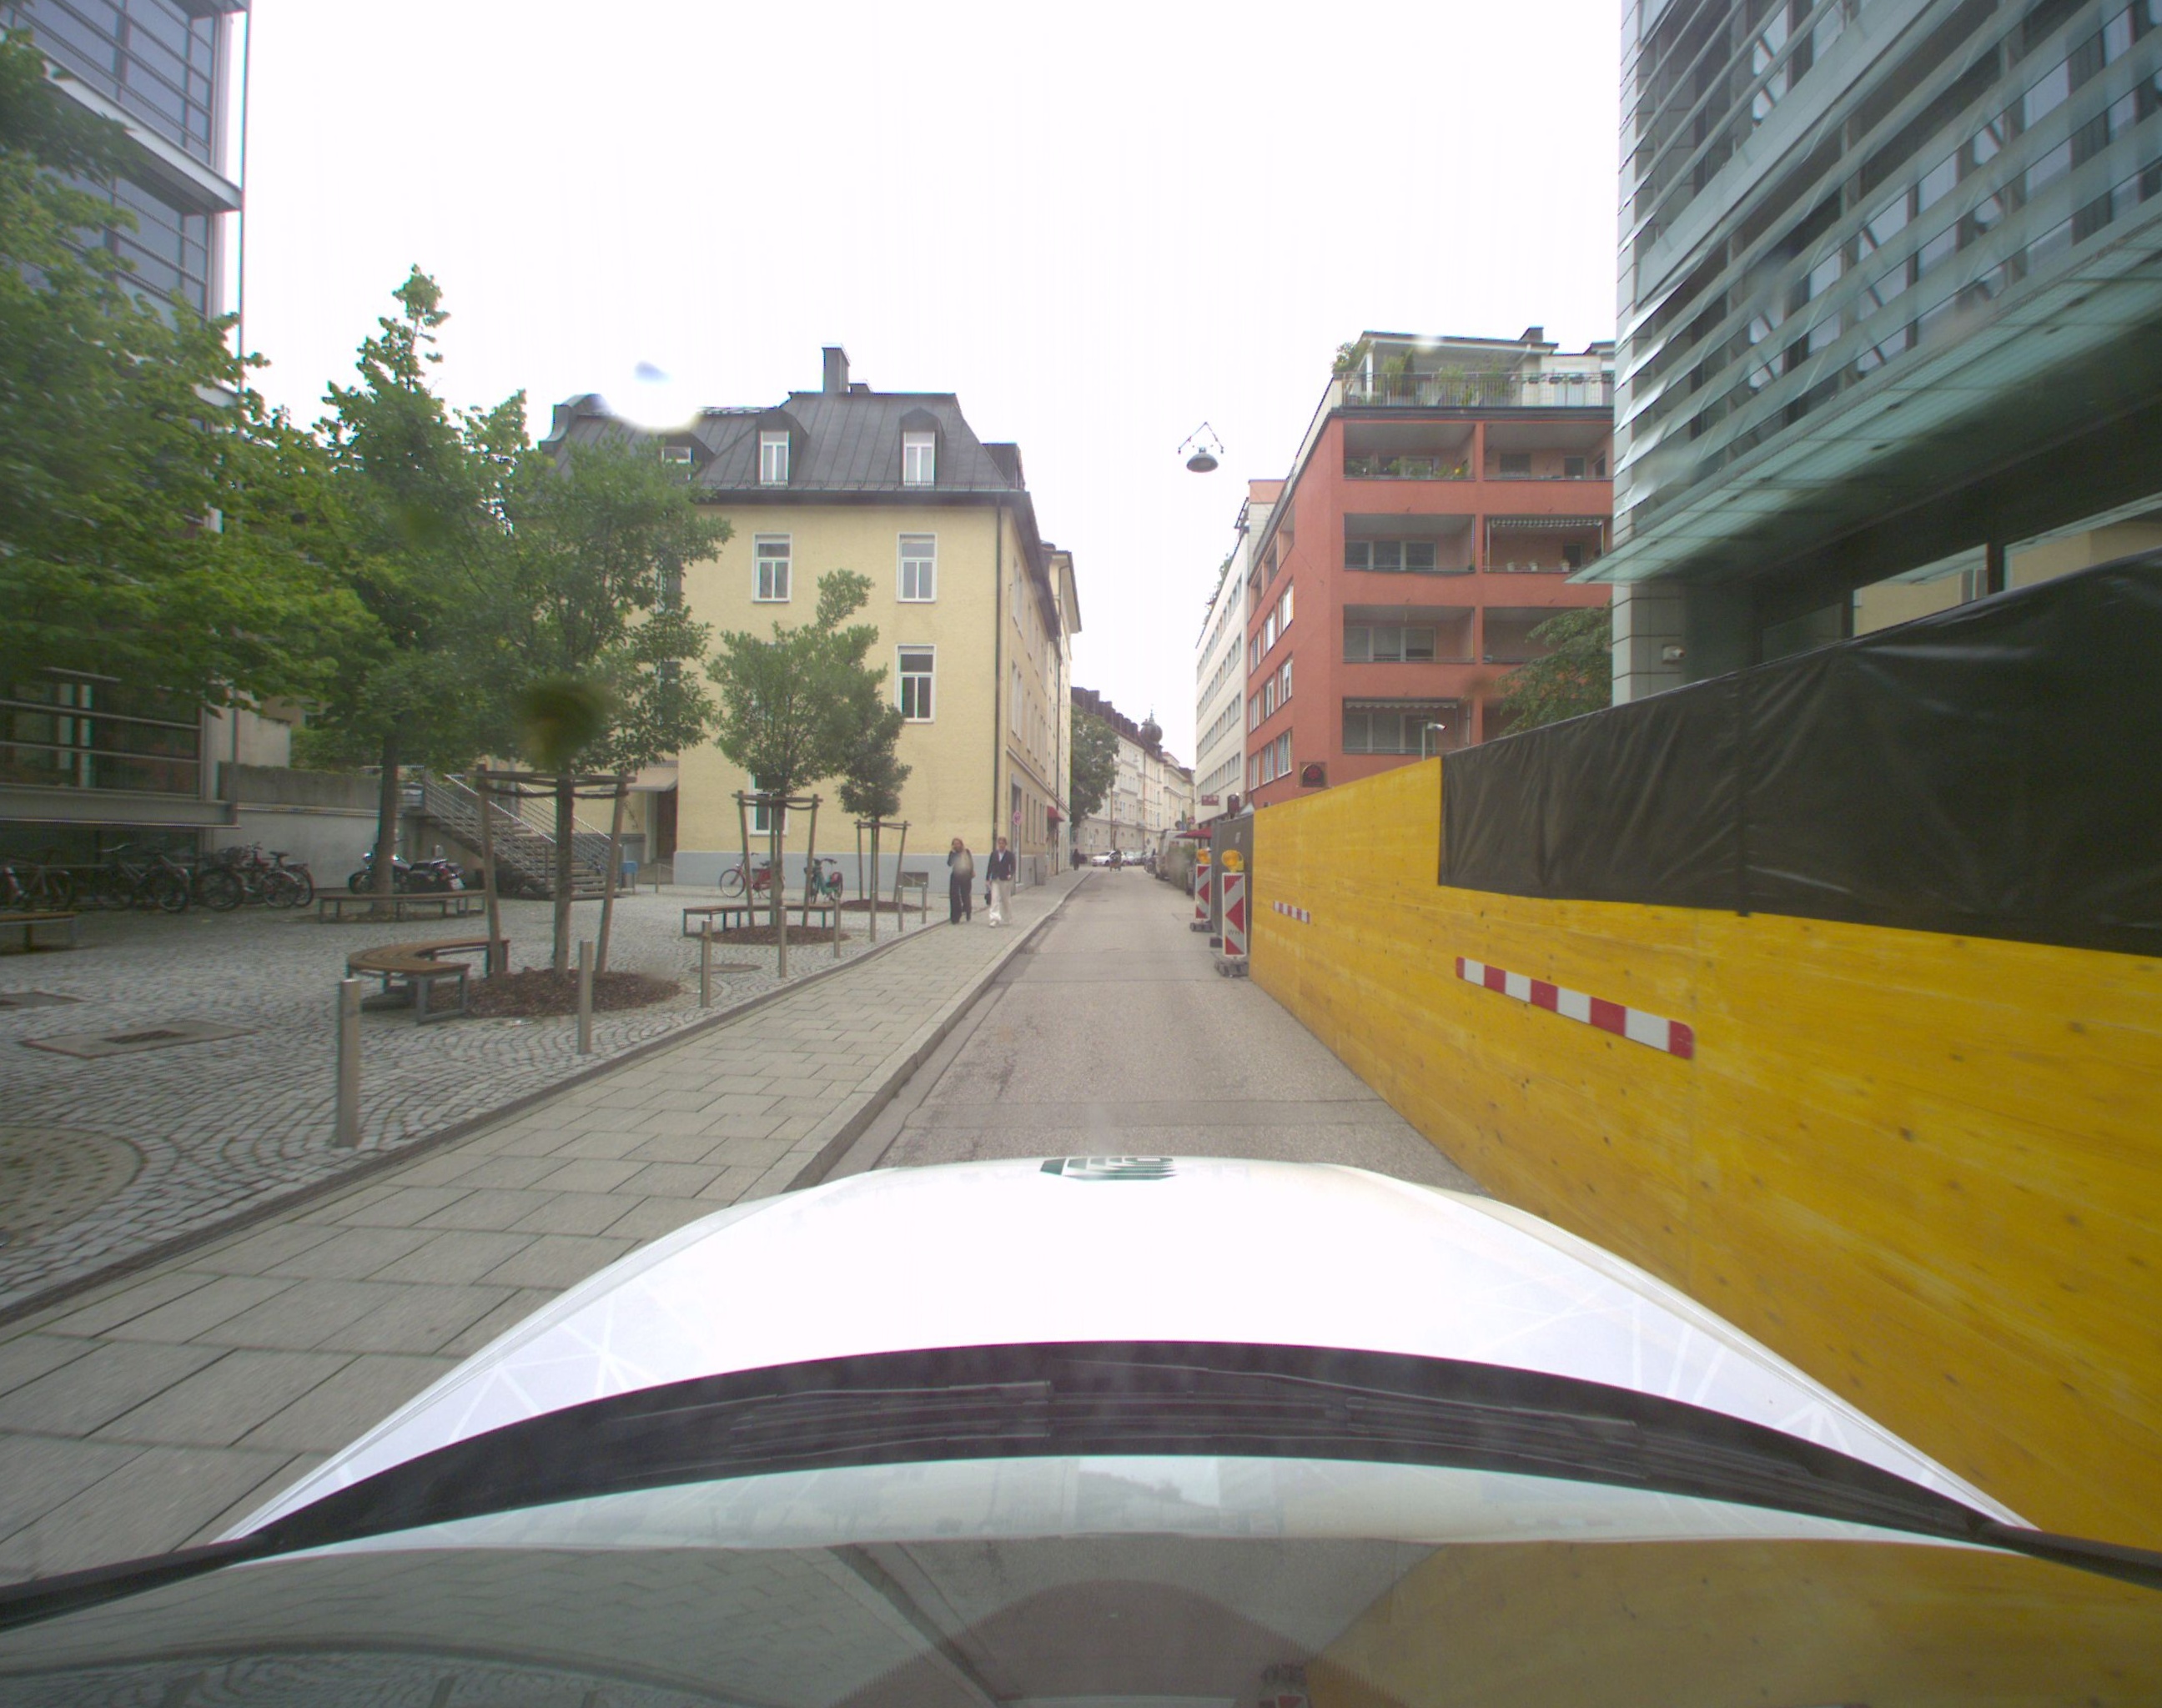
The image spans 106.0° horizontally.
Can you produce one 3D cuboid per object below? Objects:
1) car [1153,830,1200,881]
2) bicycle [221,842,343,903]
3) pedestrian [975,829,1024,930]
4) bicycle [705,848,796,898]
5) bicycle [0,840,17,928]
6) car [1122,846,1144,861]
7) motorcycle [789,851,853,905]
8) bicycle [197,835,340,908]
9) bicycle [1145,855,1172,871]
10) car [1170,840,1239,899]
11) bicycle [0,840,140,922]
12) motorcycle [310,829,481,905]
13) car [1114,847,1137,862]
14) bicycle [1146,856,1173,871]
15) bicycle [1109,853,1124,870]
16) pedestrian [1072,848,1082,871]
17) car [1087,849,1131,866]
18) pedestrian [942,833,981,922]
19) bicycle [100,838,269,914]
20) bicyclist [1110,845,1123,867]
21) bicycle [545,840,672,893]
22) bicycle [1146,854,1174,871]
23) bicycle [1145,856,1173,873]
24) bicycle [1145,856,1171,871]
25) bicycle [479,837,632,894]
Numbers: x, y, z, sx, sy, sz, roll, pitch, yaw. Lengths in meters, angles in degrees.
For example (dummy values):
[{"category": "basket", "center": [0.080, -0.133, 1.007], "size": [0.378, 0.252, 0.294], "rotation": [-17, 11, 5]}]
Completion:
[{"category": "car", "center": [5.064, 0.045, 43.888], "size": [1.913, 2.506, 5.999], "rotation": [2, 0, 1]}, {"category": "bicycle", "center": [-15.200, 0.325, 15.555], "size": [0.414, 1.091, 1.798], "rotation": [0, 0, 6]}, {"category": "pedestrian", "center": [-1.525, 0.465, 15.444], "size": [0.773, 1.836, 0.992], "rotation": [1, 0, 1]}, {"category": "bicycle", "center": [-8.343, 0.479, 20.600], "size": [1.964, 1.173, 0.749], "rotation": [2, 0, 6]}, {"category": "bicycle", "center": [-14.616, 0.360, 10.185], "size": [1.887, 1.106, 0.667], "rotation": [1, 0, 6]}, {"category": "car", "center": [5.971, -0.068, 93.417], "size": [1.930, 1.702, 4.013], "rotation": [1, 0, 12]}, {"category": "motorcycle", "center": [-5.984, 0.527, 18.834], "size": [0.573, 1.173, 1.985], "rotation": [2, 0, 8]}, {"category": "bicycle", "center": [-14.185, 0.292, 14.248], "size": [1.887, 1.203, 0.699], "rotation": [1, 0, 6]}, {"category": "bicycle", "center": [5.670, 0.665, 59.673], "size": [1.868, 1.079, 0.402], "rotation": [1, 1, -2]}, {"category": "car", "center": [3.932, 0.457, 26.545], "size": [1.816, 1.710, 4.393], "rotation": [2, 0, 3]}, {"category": "bicycle", "center": [-14.515, 0.357, 11.439], "size": [1.887, 1.075, 0.709], "rotation": [1, 0, 6]}, {"category": "motorcycle", "center": [-13.481, 0.236, 16.069], "size": [2.651, 1.412, 0.971], "rotation": [1, 0, 6]}, {"category": "car", "center": [4.879, 0.058, 88.559], "size": [1.981, 1.473, 4.231], "rotation": [1, 0, 10]}, {"category": "bicycle", "center": [5.680, 0.722, 58.974], "size": [1.868, 1.052, 0.564], "rotation": [1, -2, -2]}, {"category": "bicycle", "center": [2.816, 0.577, 64.154], "size": [0.927, 1.257, 2.419], "rotation": [0, -1, 7]}, {"category": "pedestrian", "center": [-0.300, 0.403, 59.724], "size": [0.690, 1.632, 0.663], "rotation": [2, 0, 1]}, {"category": "car", "center": [2.666, 0.330, 76.779], "size": [3.788, 1.578, 1.977], "rotation": [0, -1, -38]}, {"category": "pedestrian", "center": [-2.309, 0.444, 15.759], "size": [0.550, 1.660, 0.998], "rotation": [1, 0, 2]}, {"category": "bicycle", "center": [-14.340, 0.336, 13.061], "size": [1.887, 1.126, 0.828], "rotation": [1, 0, 6]}, {"category": "bicyclist", "center": [2.841, 0.149, 64.445], "size": [0.921, 1.721, 1.102], "rotation": [-1, 0, 7]}, {"category": "bicycle", "center": [-12.255, 0.316, 21.176], "size": [2.841, 1.251, 0.767], "rotation": [2, 0, 2]}, {"category": "bicycle", "center": [5.536, 0.589, 57.103], "size": [1.867, 1.204, 0.579], "rotation": [0, 0, 0]}, {"category": "bicycle", "center": [5.273, 0.705, 55.174], "size": [1.868, 1.108, 0.488], "rotation": [2, 1, 0]}, {"category": "bicycle", "center": [5.652, 0.674, 60.113], "size": [1.868, 1.079, 0.408], "rotation": [1, 1, -2]}, {"category": "bicycle", "center": [-12.750, 0.273, 19.804], "size": [3.211, 1.251, 0.767], "rotation": [2, 0, 2]}]
